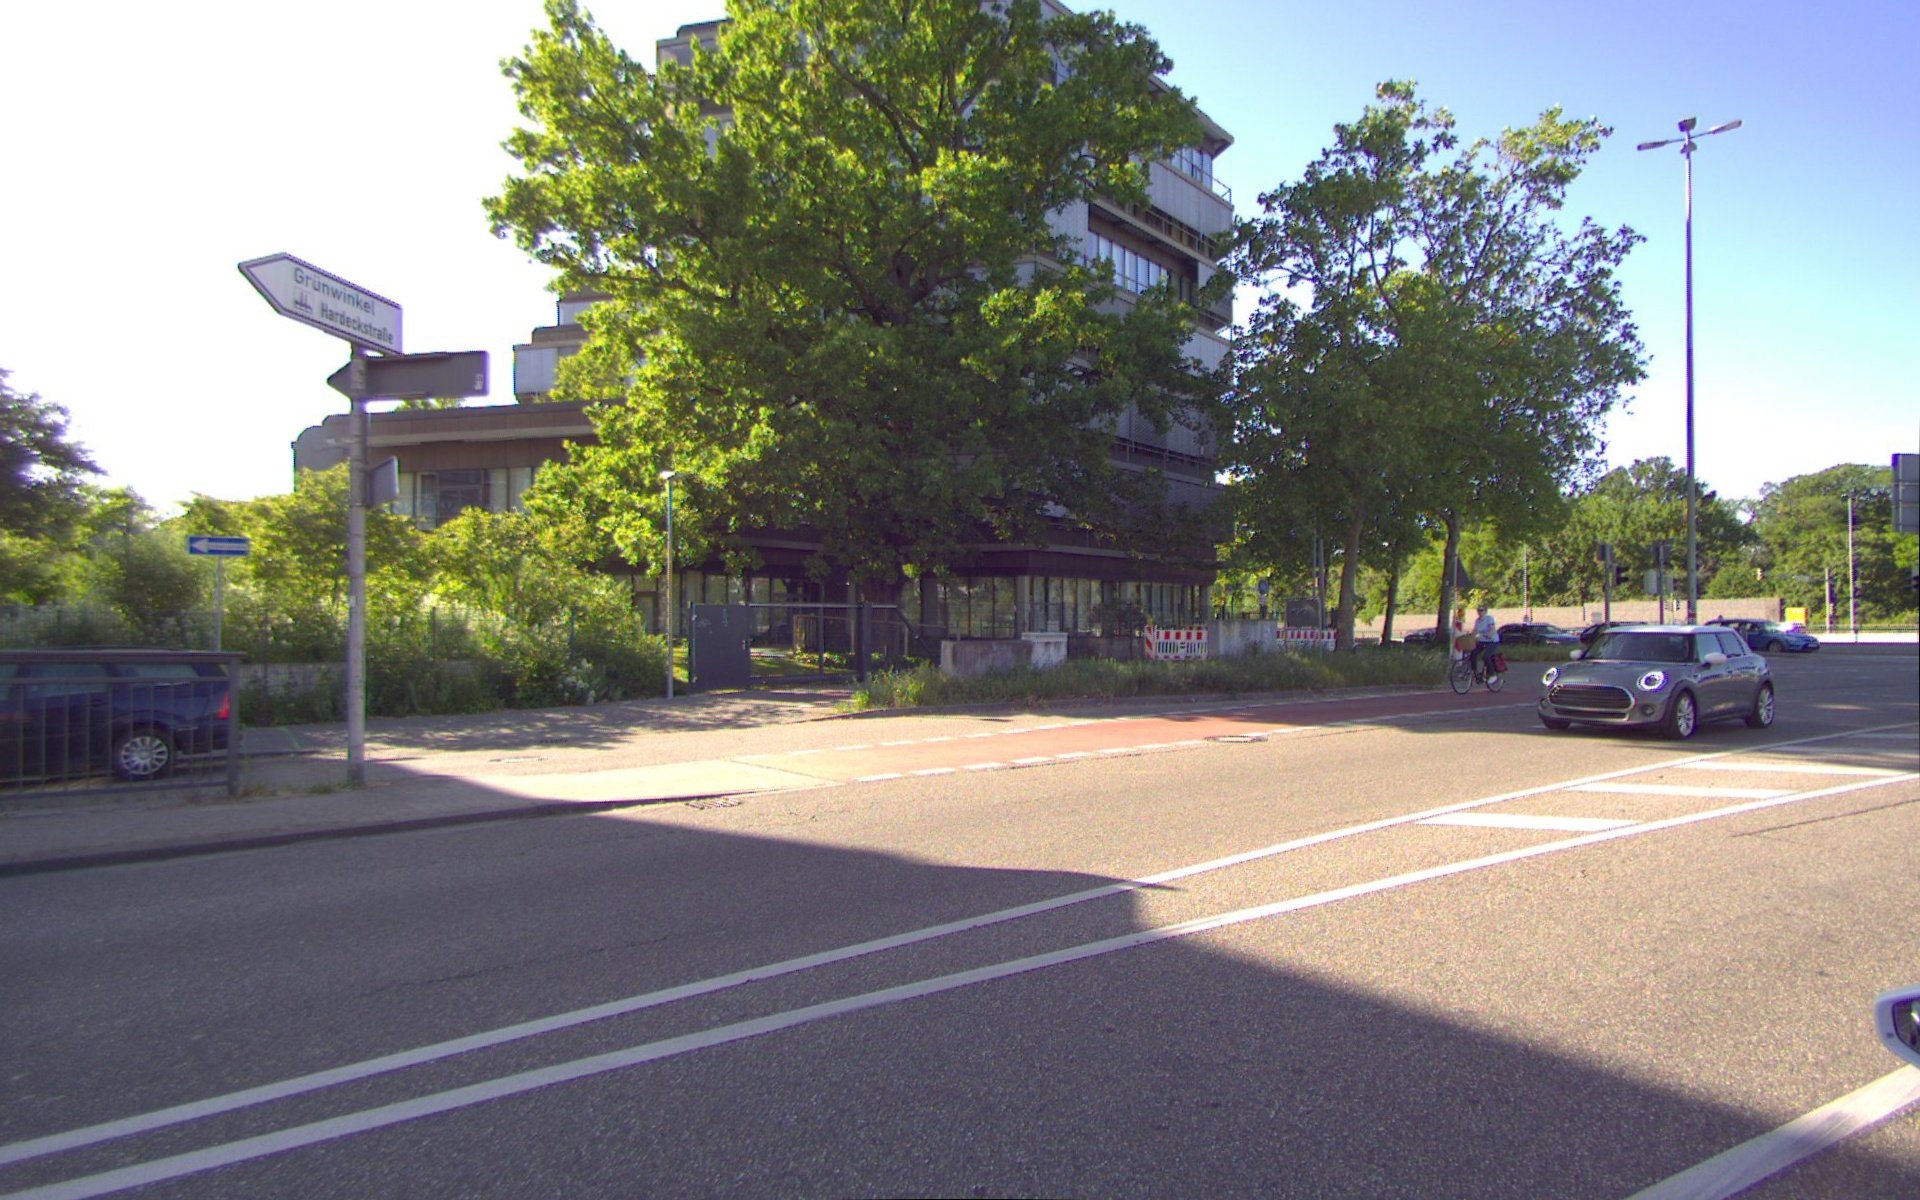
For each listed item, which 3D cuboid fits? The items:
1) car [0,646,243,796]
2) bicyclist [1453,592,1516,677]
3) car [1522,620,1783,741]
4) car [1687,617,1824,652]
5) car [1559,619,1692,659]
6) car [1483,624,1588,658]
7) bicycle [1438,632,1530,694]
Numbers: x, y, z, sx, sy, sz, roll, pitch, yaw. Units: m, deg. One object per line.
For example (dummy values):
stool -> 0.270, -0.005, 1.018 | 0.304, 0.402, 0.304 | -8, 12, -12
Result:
car -> -10.772, 1.322, 11.237 | 4.411, 1.523, 1.806 | 1, -2, -38
bicyclist -> 10.978, 0.719, 21.021 | 1.185, 1.723, 0.683 | 0, -1, -34
car -> 9.723, 1.020, 14.042 | 3.871, 1.476, 1.676 | 1, -1, -33
car -> 34.240, 1.478, 43.400 | 1.796, 1.457, 4.437 | 0, -2, -15
car -> 25.567, 1.481, 38.804 | 1.792, 1.457, 4.446 | 0, -2, -7
car -> 25.857, 1.808, 45.286 | 1.792, 1.457, 4.446 | 0, -2, -7
bicycle -> 10.977, 1.293, 21.009 | 2.303, 1.218, 0.683 | 1, -1, -34
